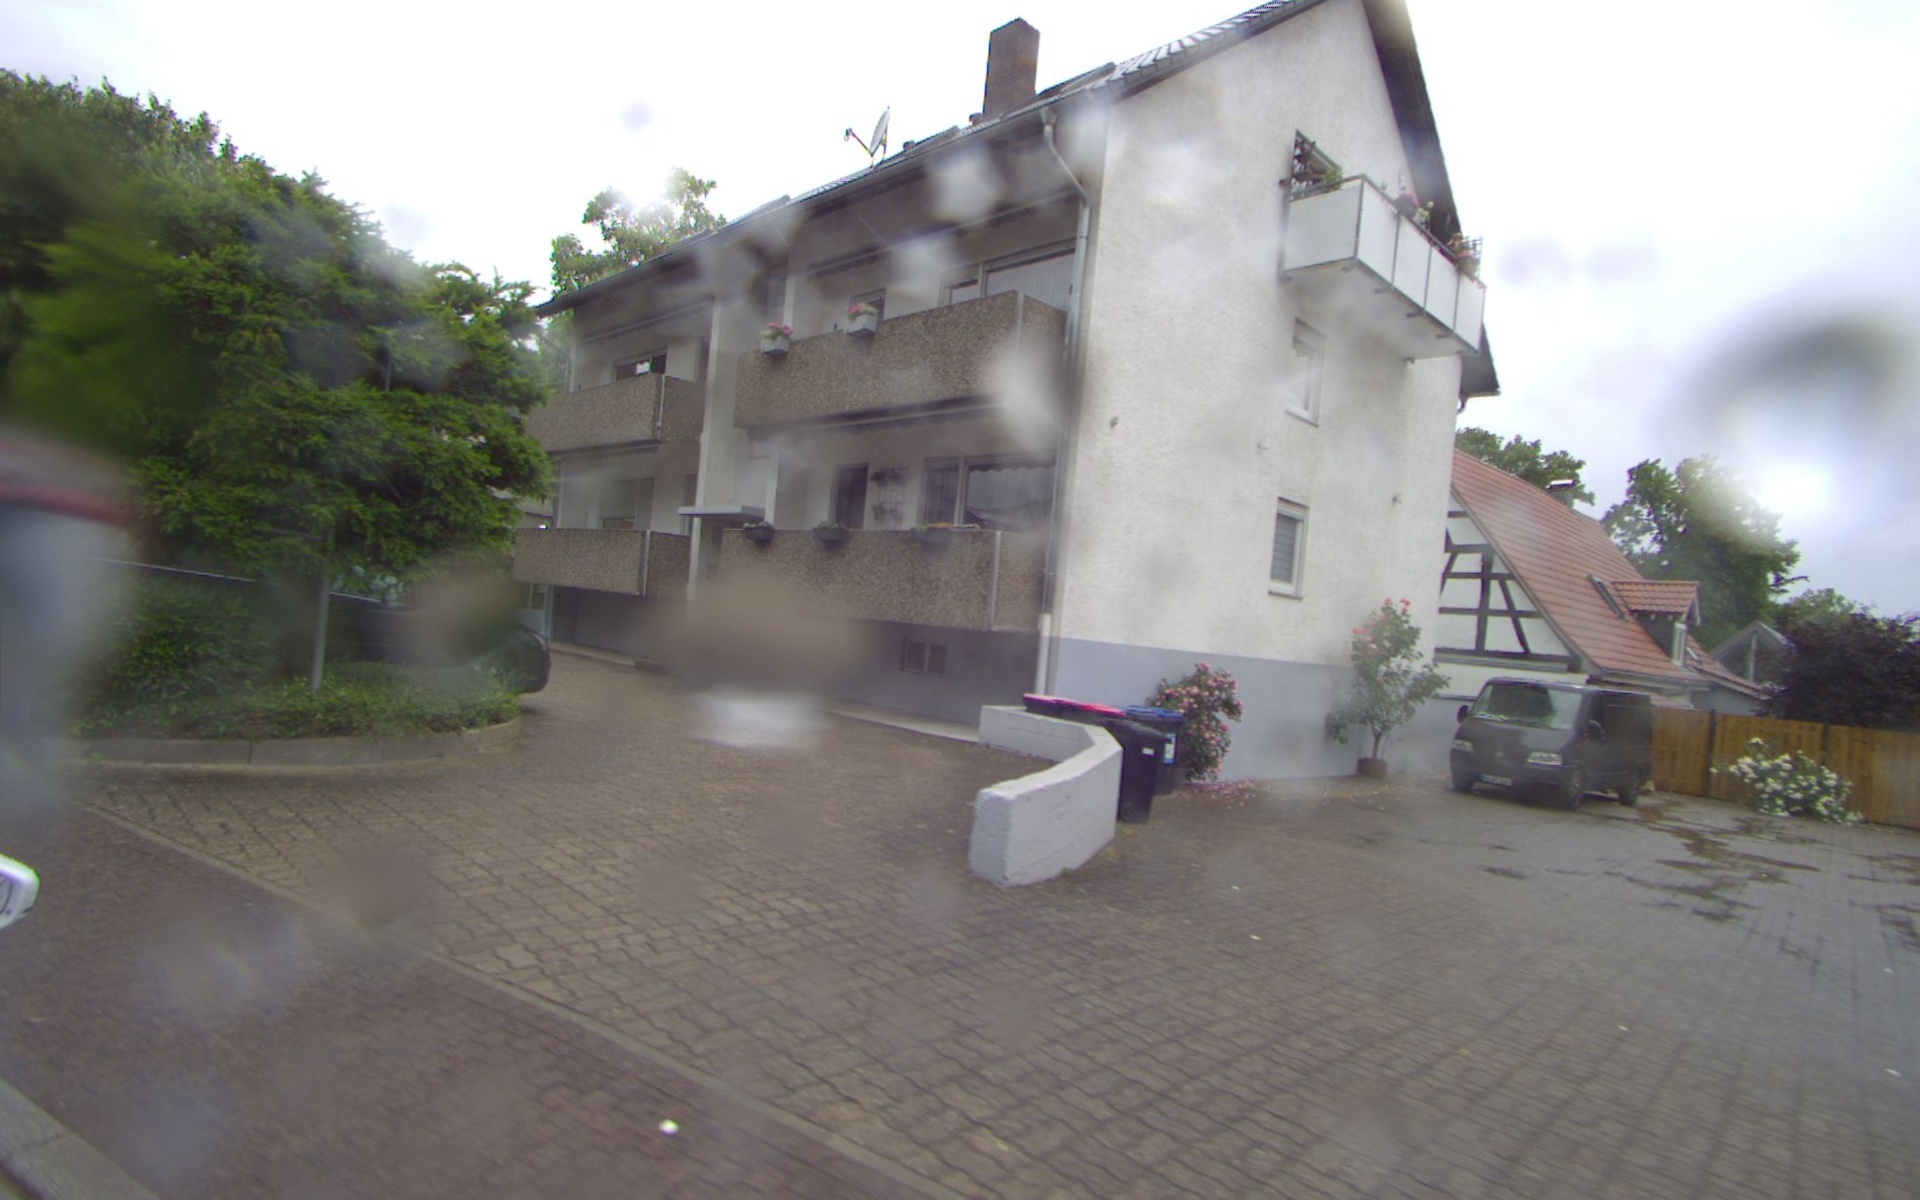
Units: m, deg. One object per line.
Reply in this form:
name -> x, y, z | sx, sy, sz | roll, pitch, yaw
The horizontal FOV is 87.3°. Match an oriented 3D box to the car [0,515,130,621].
car -> -14.613, -0.601, 14.321 | 1.724, 1.395, 3.952 | 7, -1, 36

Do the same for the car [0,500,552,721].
car -> -6.081, 0.173, 8.838 | 1.672, 1.498, 4.221 | 6, -1, 43

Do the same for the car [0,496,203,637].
car -> -12.596, -0.546, 13.052 | 1.832, 1.608, 4.062 | 6, -1, 42

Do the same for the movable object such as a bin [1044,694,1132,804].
movable object such as a bin -> 1.384, 1.611, 10.896 | 0.620, 1.079, 0.565 | 8, -2, -36

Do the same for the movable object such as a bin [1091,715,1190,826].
movable object such as a bin -> 1.795, 1.695, 10.053 | 0.617, 0.959, 0.653 | 8, -2, -24

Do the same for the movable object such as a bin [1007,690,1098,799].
movable object such as a bin -> 1.059, 1.654, 11.561 | 0.621, 1.131, 0.683 | 8, -2, -40

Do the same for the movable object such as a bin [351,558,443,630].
movable object such as a bin -> -12.496, -0.118, 22.341 | 1.135, 1.373, 1.245 | 7, -1, 29

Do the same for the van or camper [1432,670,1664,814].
van or camper -> 10.770, 2.536, 18.272 | 4.821, 2.038, 2.174 | 8, -1, -43
